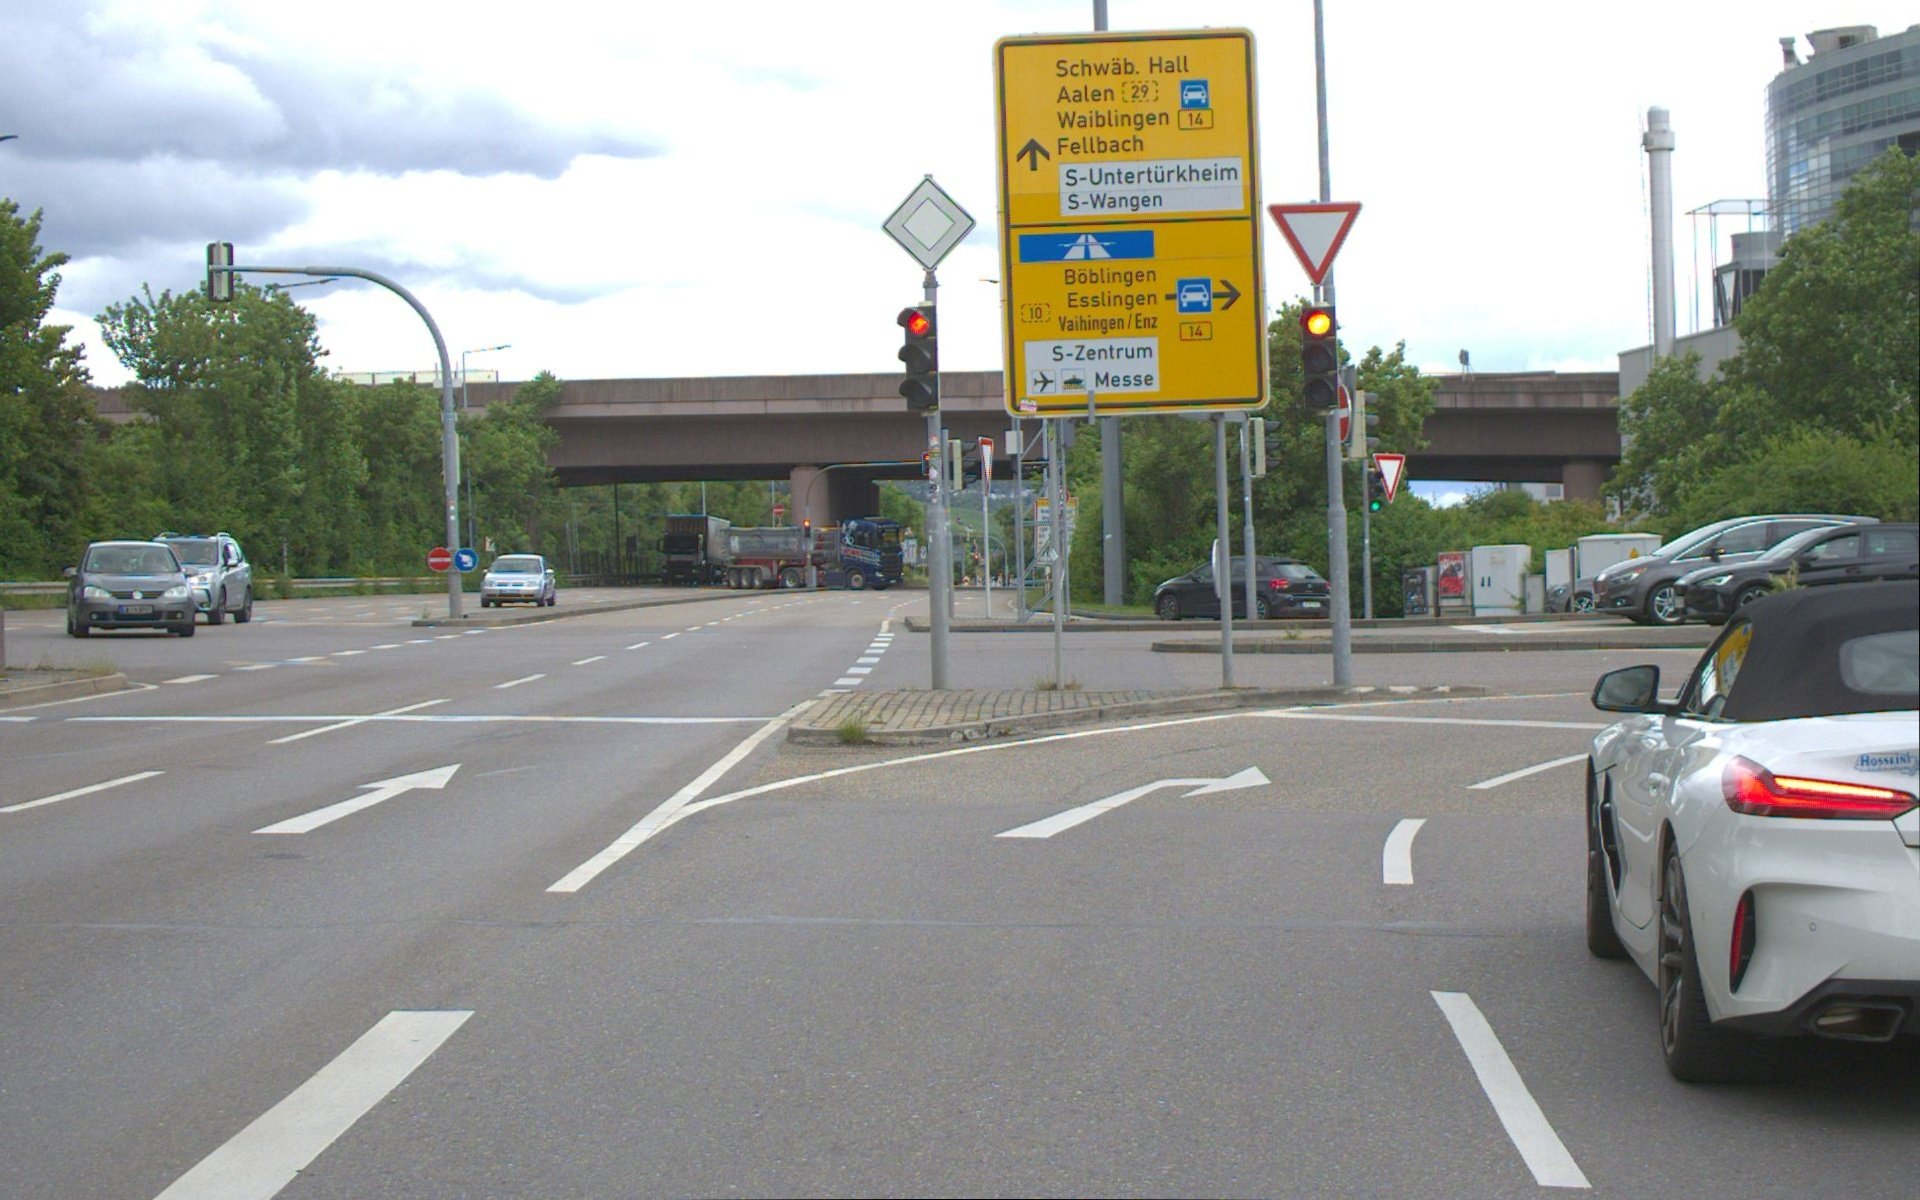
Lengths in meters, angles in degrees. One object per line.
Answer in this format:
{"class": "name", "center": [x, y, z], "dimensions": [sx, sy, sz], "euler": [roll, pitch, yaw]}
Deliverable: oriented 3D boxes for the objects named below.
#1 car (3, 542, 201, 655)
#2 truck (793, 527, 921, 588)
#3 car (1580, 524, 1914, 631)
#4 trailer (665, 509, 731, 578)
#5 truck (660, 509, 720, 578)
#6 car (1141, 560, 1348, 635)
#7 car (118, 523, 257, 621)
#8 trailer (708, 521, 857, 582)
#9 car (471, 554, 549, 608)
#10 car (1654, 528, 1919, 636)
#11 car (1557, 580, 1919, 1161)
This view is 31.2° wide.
{"class": "car", "center": [-13.151, 0.011, 52.540], "dimensions": [1.724, 1.457, 4.243], "euler": [3, -4, -31]}
{"class": "truck", "center": [-5.052, -2.083, 167.892], "dimensions": [5.774, 2.615, 2.615], "euler": [4, 1, 37]}
{"class": "car", "center": [12.109, -0.370, 53.083], "dimensions": [4.678, 1.566, 1.956], "euler": [-1, 2, -2]}
{"class": "trailer", "center": [-16.235, -3.550, 213.589], "dimensions": [2.872, 4.070, 11.427], "euler": [1, 1, 1]}
{"class": "truck", "center": [-16.367, -3.458, 208.489], "dimensions": [2.872, 4.070, 6.487], "euler": [1, 1, 1]}
{"class": "car", "center": [5.767, -0.028, 70.078], "dimensions": [1.994, 1.459, 4.109], "euler": [1, -1, -36]}
{"class": "car", "center": [-14.360, -0.546, 64.092], "dimensions": [1.724, 1.731, 4.556], "euler": [-1, 1, -3]}
{"class": "trailer", "center": [-8.930, -2.432, 171.623], "dimensions": [2.602, 2.615, 8.567], "euler": [3, 1, -41]}
{"class": "car", "center": [-12.383, -0.543, 94.787], "dimensions": [1.724, 1.396, 4.067], "euler": [-1, 1, -2]}
{"class": "car", "center": [12.428, -0.272, 49.022], "dimensions": [4.604, 1.452, 1.956], "euler": [-1, 2, -5]}
{"class": "car", "center": [2.821, 0.623, 10.072], "dimensions": [1.805, 1.287, 4.262], "euler": [1, 1, 6]}
